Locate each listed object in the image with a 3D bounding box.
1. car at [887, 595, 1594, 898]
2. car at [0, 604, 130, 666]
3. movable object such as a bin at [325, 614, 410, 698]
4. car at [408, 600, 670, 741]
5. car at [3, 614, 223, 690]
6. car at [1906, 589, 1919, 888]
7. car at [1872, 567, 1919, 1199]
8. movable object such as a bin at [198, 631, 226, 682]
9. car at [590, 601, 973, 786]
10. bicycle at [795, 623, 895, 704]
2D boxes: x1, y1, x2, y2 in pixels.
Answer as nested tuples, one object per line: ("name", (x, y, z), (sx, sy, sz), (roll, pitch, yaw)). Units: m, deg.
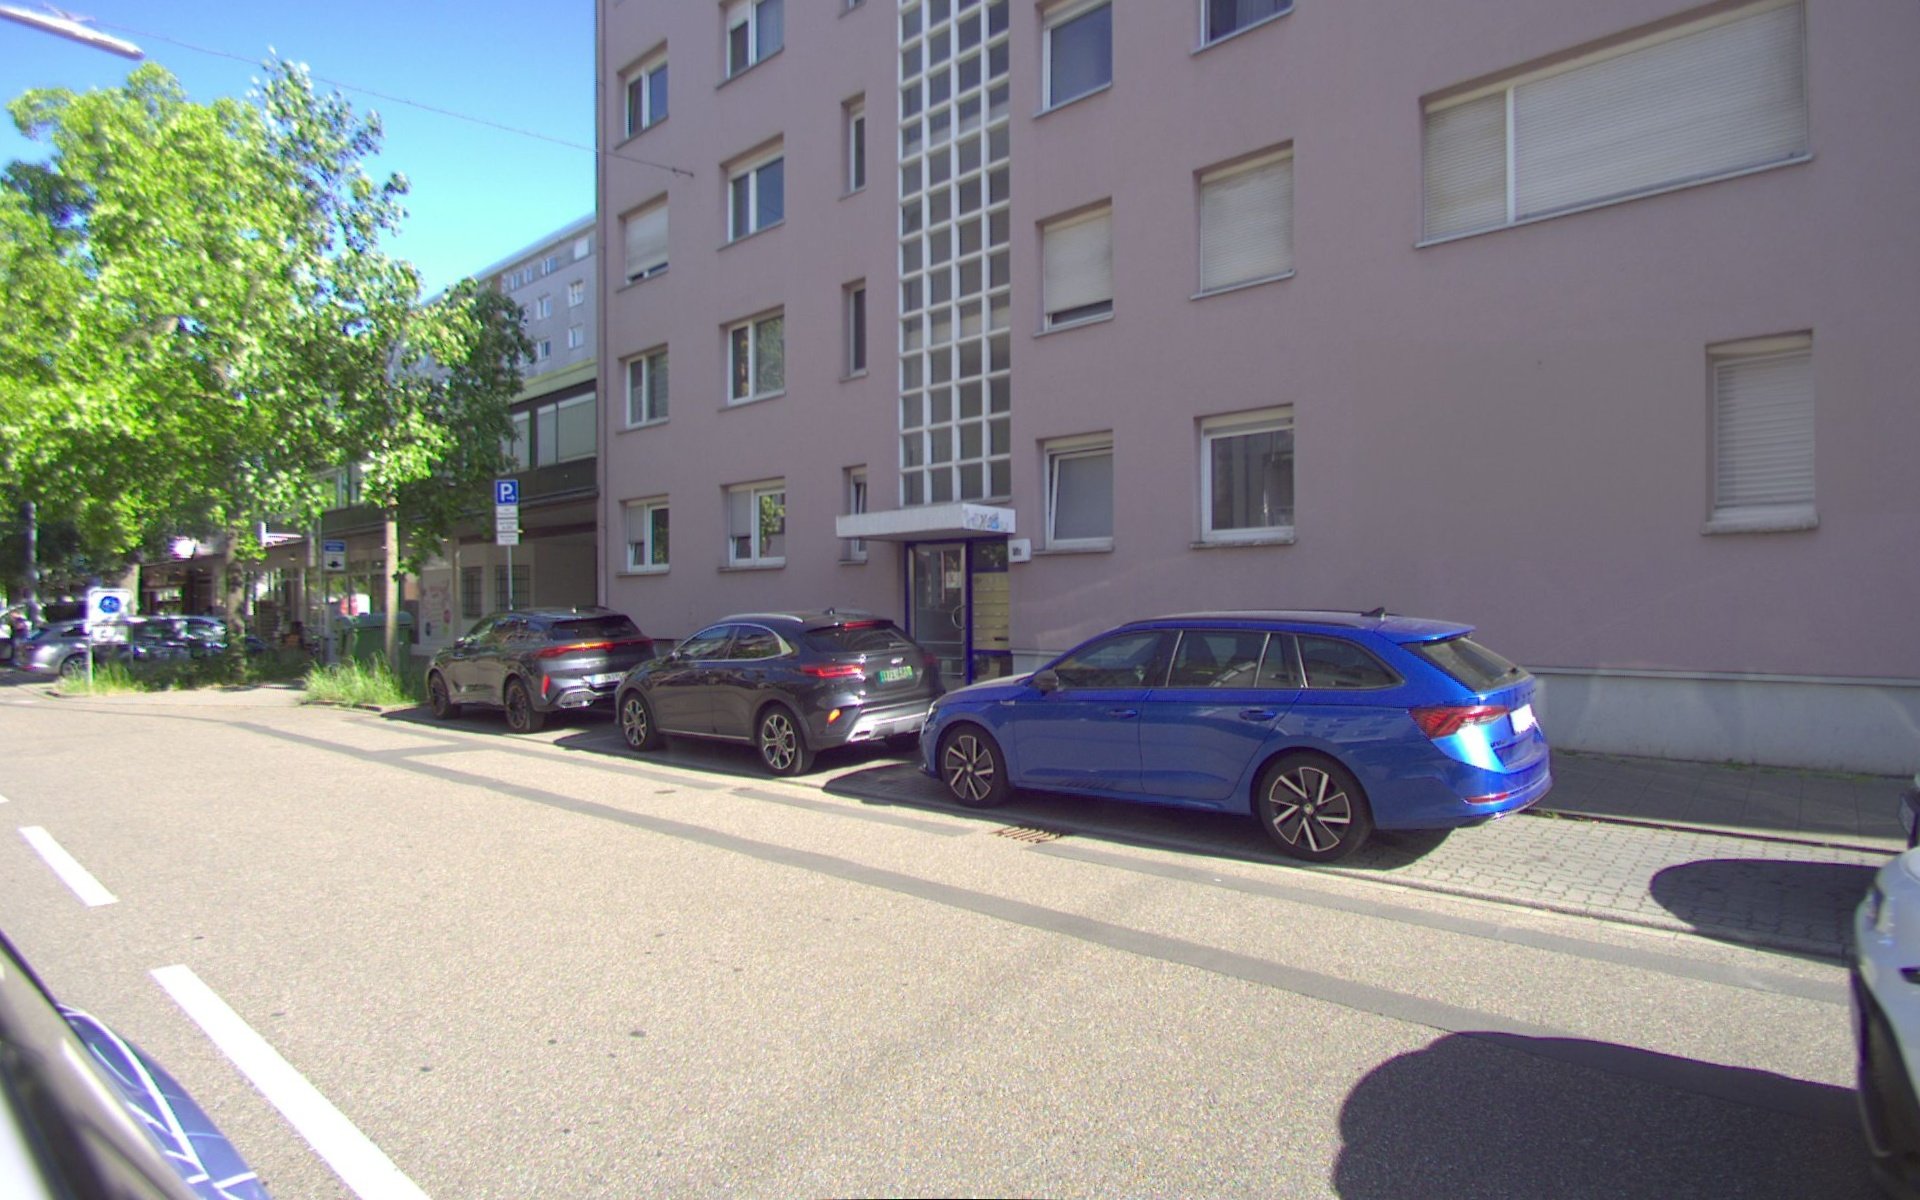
("car", (1.726, 0.782, 7.299), (4.610, 1.476, 1.700), (-1, 1, 41))
("car", (-31.285, 1.168, 34.822), (1.999, 2.047, 3.945), (-1, -1, 41))
("movable object such as a bin", (-11.575, 1.062, 19.771), (1.230, 1.557, 1.019), (0, -1, -44))
("car", (-6.051, 0.891, 14.329), (4.141, 1.604, 1.798), (-1, 2, 43))
("car", (-20.972, 1.226, 25.165), (1.999, 1.687, 3.945), (-1, -1, 41))
("car", (6.350, 0.676, 3.188), (4.812, 1.476, 1.700), (-1, 1, 41))
("car", (3.760, 0.671, 1.243), (3.782, 1.548, 1.748), (-1, -1, 39))
("movable object such as a bin", (-18.488, 1.380, 25.020), (0.409, 1.234, 0.482), (-1, -1, 41))
("car", (-2.054, 0.838, 10.806), (4.245, 1.519, 1.798), (-1, 1, 43))
("bicycle", (-1.687, 0.892, 14.710), (1.649, 1.084, 0.387), (-1, 3, 42))
